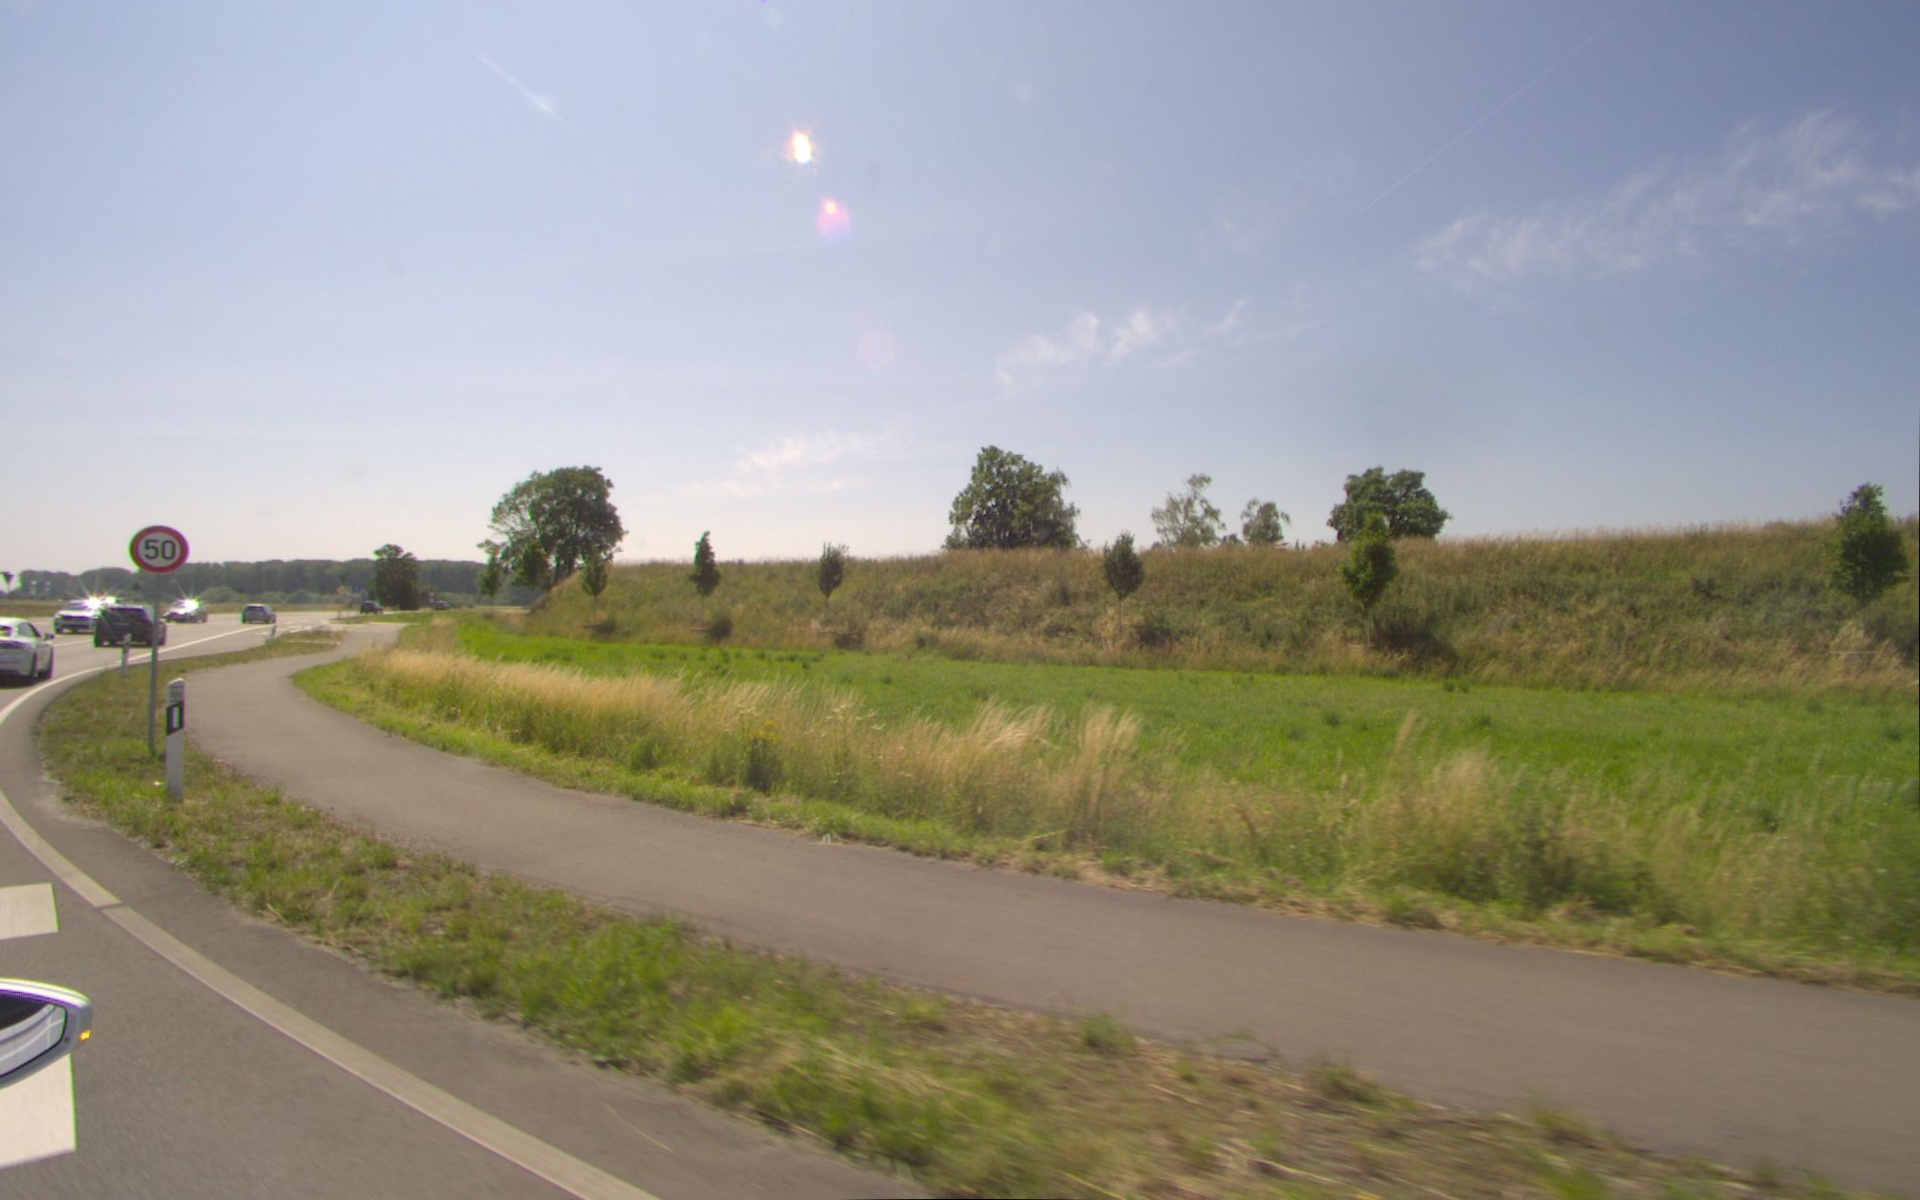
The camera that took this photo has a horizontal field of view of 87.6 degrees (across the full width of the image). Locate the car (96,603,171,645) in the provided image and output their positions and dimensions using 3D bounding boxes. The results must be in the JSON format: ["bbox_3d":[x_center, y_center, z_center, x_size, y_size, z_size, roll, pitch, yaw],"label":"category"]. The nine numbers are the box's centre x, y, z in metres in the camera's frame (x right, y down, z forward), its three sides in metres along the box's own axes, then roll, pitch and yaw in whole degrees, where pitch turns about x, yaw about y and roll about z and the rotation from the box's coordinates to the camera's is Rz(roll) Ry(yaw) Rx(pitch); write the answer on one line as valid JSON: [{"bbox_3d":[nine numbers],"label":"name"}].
[{"bbox_3d":[-34.146,1.002,41.458,1.915,1.637,4.352,0,-2,-33],"label":"car"}]

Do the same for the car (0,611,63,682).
[{"bbox_3d":[-21.316,0.980,22.105,1.832,1.451,4.573,3,-3,-37],"label":"car"}]

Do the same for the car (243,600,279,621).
[{"bbox_3d":[-53.656,0.814,76.913,1.778,1.447,4.075,-1,-2,-28],"label":"car"}]

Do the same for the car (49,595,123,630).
[{"bbox_3d":[-45.143,0.636,51.823,1.857,1.671,4.819,3,-2,-29],"label":"car"}]

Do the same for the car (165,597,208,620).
[{"bbox_3d":[-55.811,0.616,72.287,1.712,1.576,4.395,0,-1,-28],"label":"car"}]

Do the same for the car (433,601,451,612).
[{"bbox_3d":[-82.969,1.040,160.298,1.773,1.542,3.875,-2,0,-16],"label":"car"}]

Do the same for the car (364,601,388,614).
[{"bbox_3d":[-69.851,0.942,119.830,1.776,1.495,4.403,0,-1,-22],"label":"car"}]
